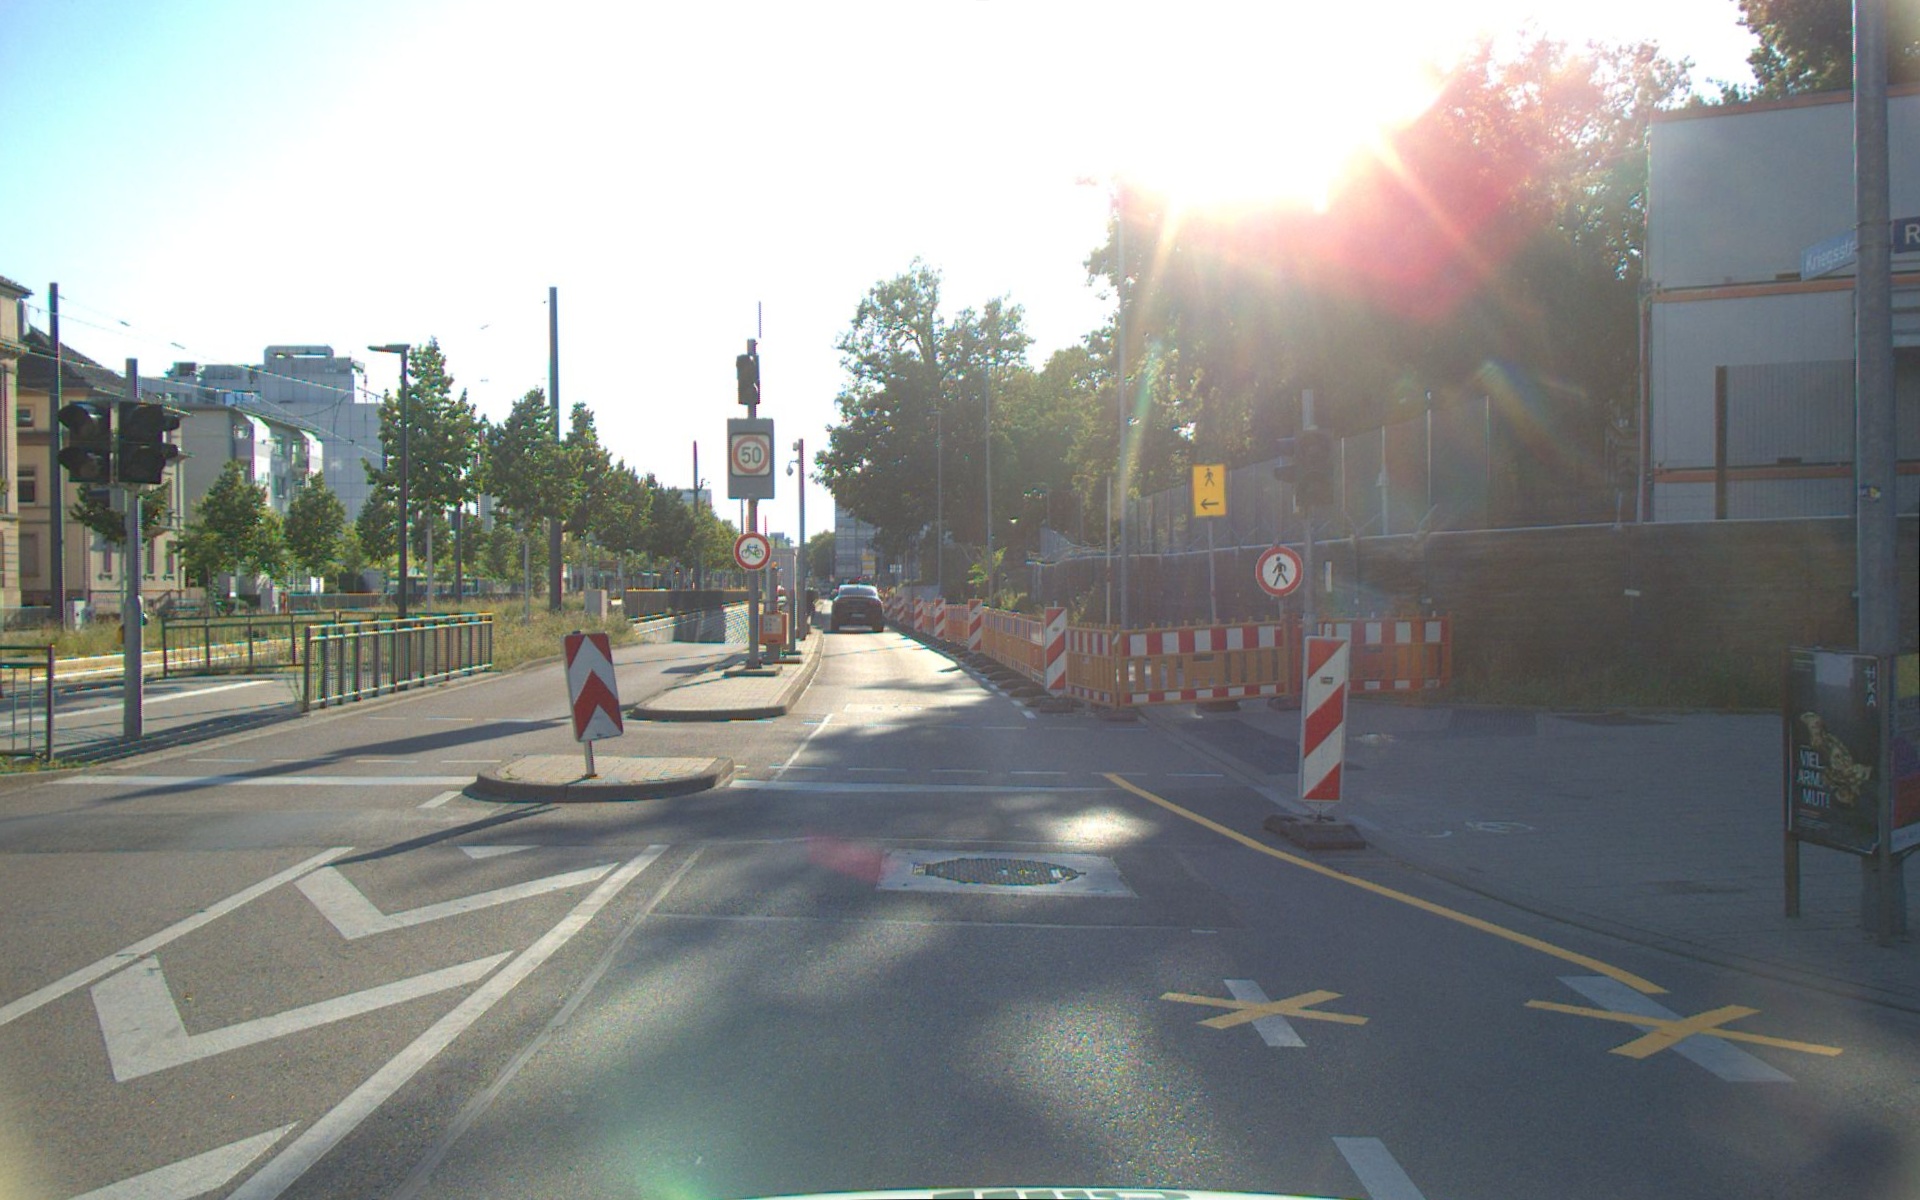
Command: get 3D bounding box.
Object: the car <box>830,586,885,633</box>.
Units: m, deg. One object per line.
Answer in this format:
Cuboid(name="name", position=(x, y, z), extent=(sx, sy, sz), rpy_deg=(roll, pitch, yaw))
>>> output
Cuboid(name="car", position=(-3.887, 0.364, 62.655), extent=(1.966, 1.688, 3.997), rpy_deg=(1, 0, -4))
